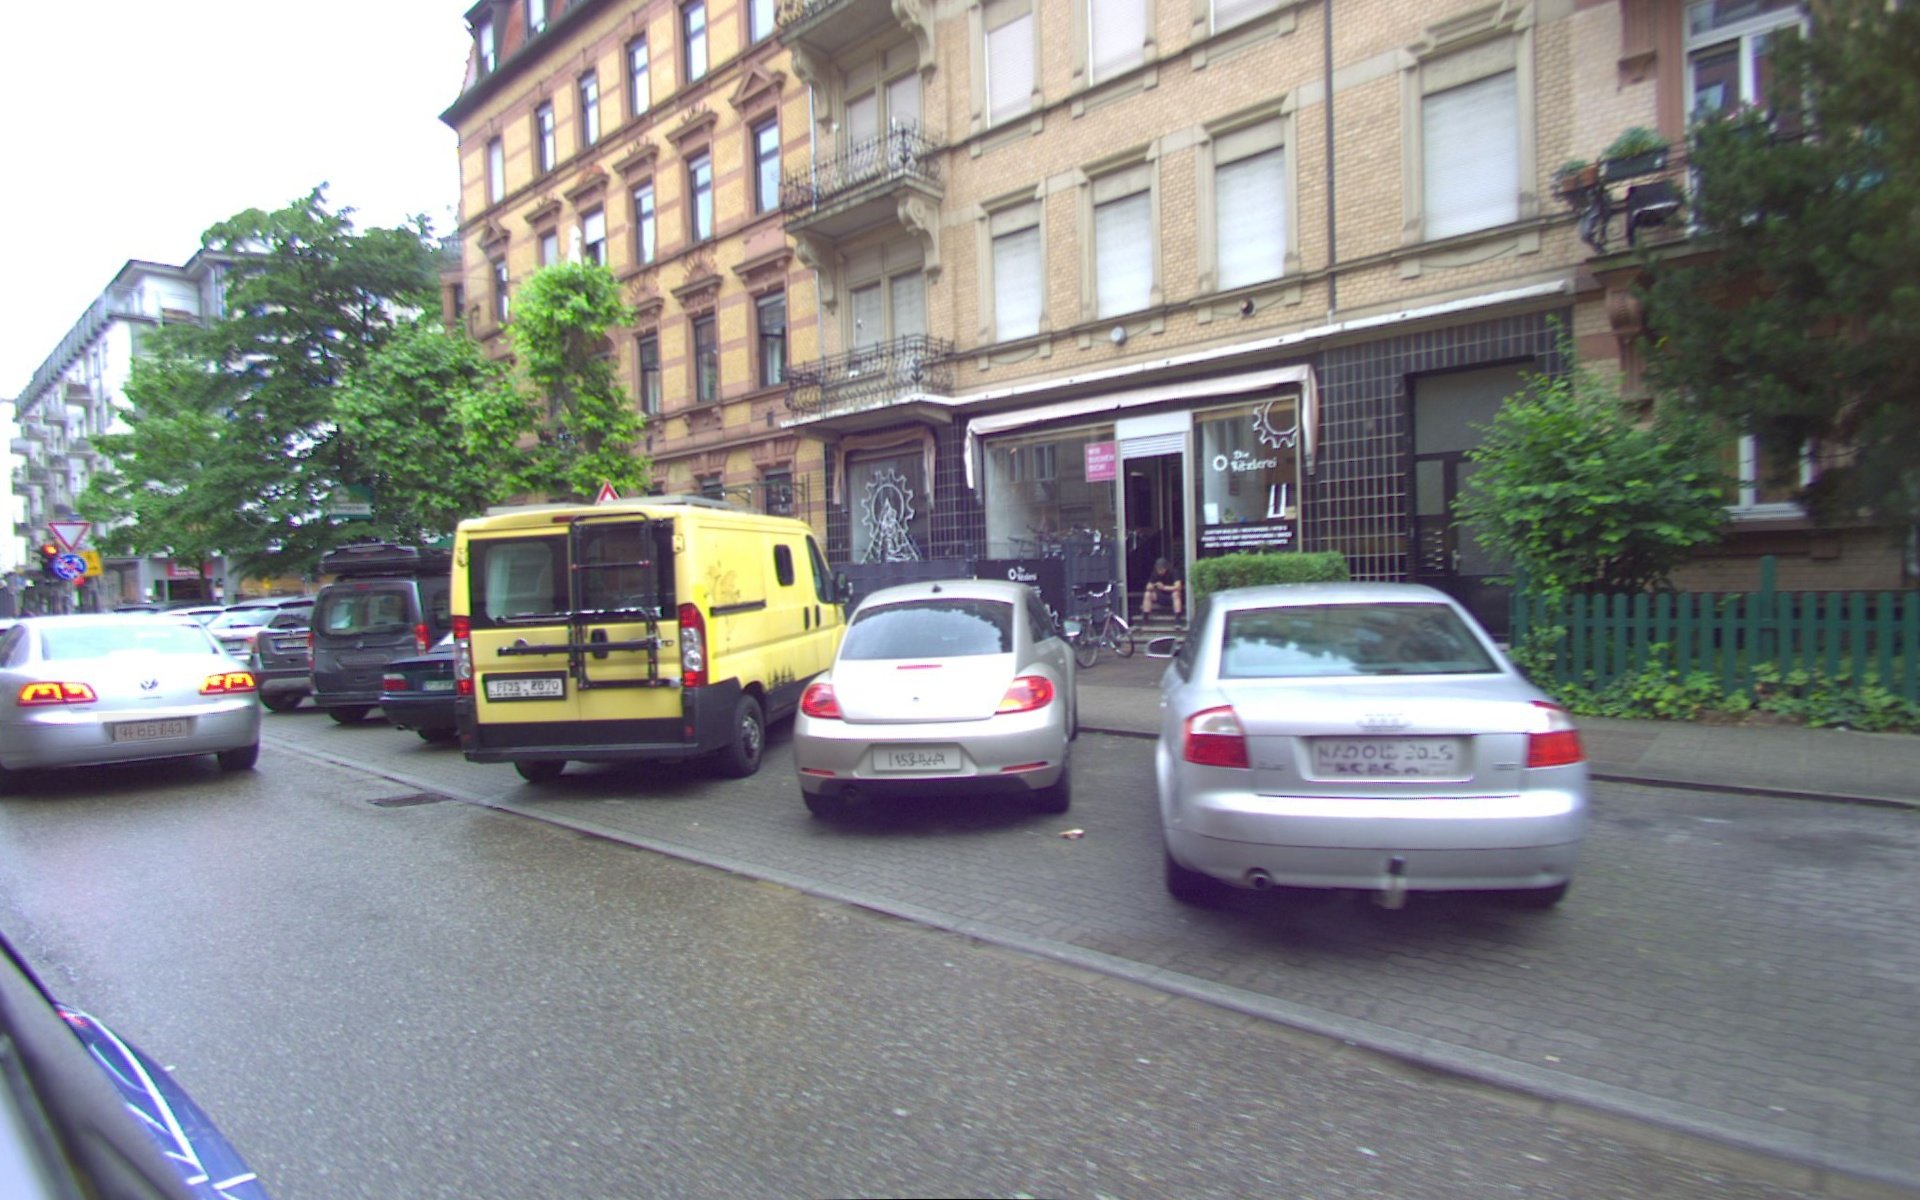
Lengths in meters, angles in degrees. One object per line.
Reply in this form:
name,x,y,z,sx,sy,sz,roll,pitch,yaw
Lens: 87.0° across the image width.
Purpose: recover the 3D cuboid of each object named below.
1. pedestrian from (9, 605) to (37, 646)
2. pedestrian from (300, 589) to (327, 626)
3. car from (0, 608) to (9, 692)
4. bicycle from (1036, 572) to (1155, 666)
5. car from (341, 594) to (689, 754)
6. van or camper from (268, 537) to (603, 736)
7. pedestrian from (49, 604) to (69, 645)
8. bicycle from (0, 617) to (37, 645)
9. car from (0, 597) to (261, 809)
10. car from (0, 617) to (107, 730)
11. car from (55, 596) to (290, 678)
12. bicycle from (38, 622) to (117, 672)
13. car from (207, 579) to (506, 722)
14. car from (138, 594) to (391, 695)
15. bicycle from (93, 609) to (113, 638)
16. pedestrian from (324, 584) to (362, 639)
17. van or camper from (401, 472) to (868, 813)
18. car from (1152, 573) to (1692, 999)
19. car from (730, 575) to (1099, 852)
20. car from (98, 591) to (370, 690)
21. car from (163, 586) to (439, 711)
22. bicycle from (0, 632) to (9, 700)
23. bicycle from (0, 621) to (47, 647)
pedestrian,-43.908,1.165,47.412,0.850,1.862,0.770,-3,1,-40
pedestrian,-28.675,0.326,44.923,0.786,1.627,0.606,-2,2,-14
car,-21.631,1.053,21.376,5.007,1.672,1.839,-1,-1,42
bicycle,1.888,0.232,13.843,0.631,1.183,2.018,-1,0,39
car,-4.825,0.744,11.672,1.807,1.506,3.988,-1,-1,9
van or camper,-6.779,0.311,13.684,1.915,2.255,4.075,-1,4,9
pedestrian,-42.187,1.131,47.401,0.595,1.862,0.770,-3,1,-40
bicycle,-46.868,1.550,49.845,1.994,1.204,0.551,-7,4,-43
car,-8.253,0.857,9.628,4.585,1.505,1.775,-3,0,45
car,-14.357,1.031,15.121,4.135,1.505,1.777,-1,-1,40
car,-18.831,0.810,24.536,1.975,1.575,4.453,-1,3,5
bicycle,-21.803,1.164,25.009,1.665,1.152,0.585,-2,2,13
car,-8.887,0.634,15.399,1.778,1.674,4.133,-1,4,5
car,-13.308,0.777,19.733,1.779,1.504,4.132,-1,4,6
bicycle,-42.896,1.180,50.666,2.024,1.383,0.444,-2,3,43
pedestrian,-23.393,0.437,38.378,0.929,2.028,0.866,-2,1,-14
van or camper,-2.521,0.216,9.417,2.160,2.284,4.715,-3,2,9
car,2.024,0.601,5.573,1.766,1.446,3.985,-1,1,12
car,-0.022,0.600,7.638,1.942,1.506,3.907,-2,1,10
car,-15.179,0.766,21.590,1.976,1.574,4.716,-3,3,7
car,-11.176,0.723,17.581,1.778,1.674,4.133,-2,3,5
bicycle,-17.935,1.204,18.333,2.267,1.189,0.762,-3,-1,40
bicycle,-43.973,1.572,47.195,0.658,1.041,1.879,-3,3,27
